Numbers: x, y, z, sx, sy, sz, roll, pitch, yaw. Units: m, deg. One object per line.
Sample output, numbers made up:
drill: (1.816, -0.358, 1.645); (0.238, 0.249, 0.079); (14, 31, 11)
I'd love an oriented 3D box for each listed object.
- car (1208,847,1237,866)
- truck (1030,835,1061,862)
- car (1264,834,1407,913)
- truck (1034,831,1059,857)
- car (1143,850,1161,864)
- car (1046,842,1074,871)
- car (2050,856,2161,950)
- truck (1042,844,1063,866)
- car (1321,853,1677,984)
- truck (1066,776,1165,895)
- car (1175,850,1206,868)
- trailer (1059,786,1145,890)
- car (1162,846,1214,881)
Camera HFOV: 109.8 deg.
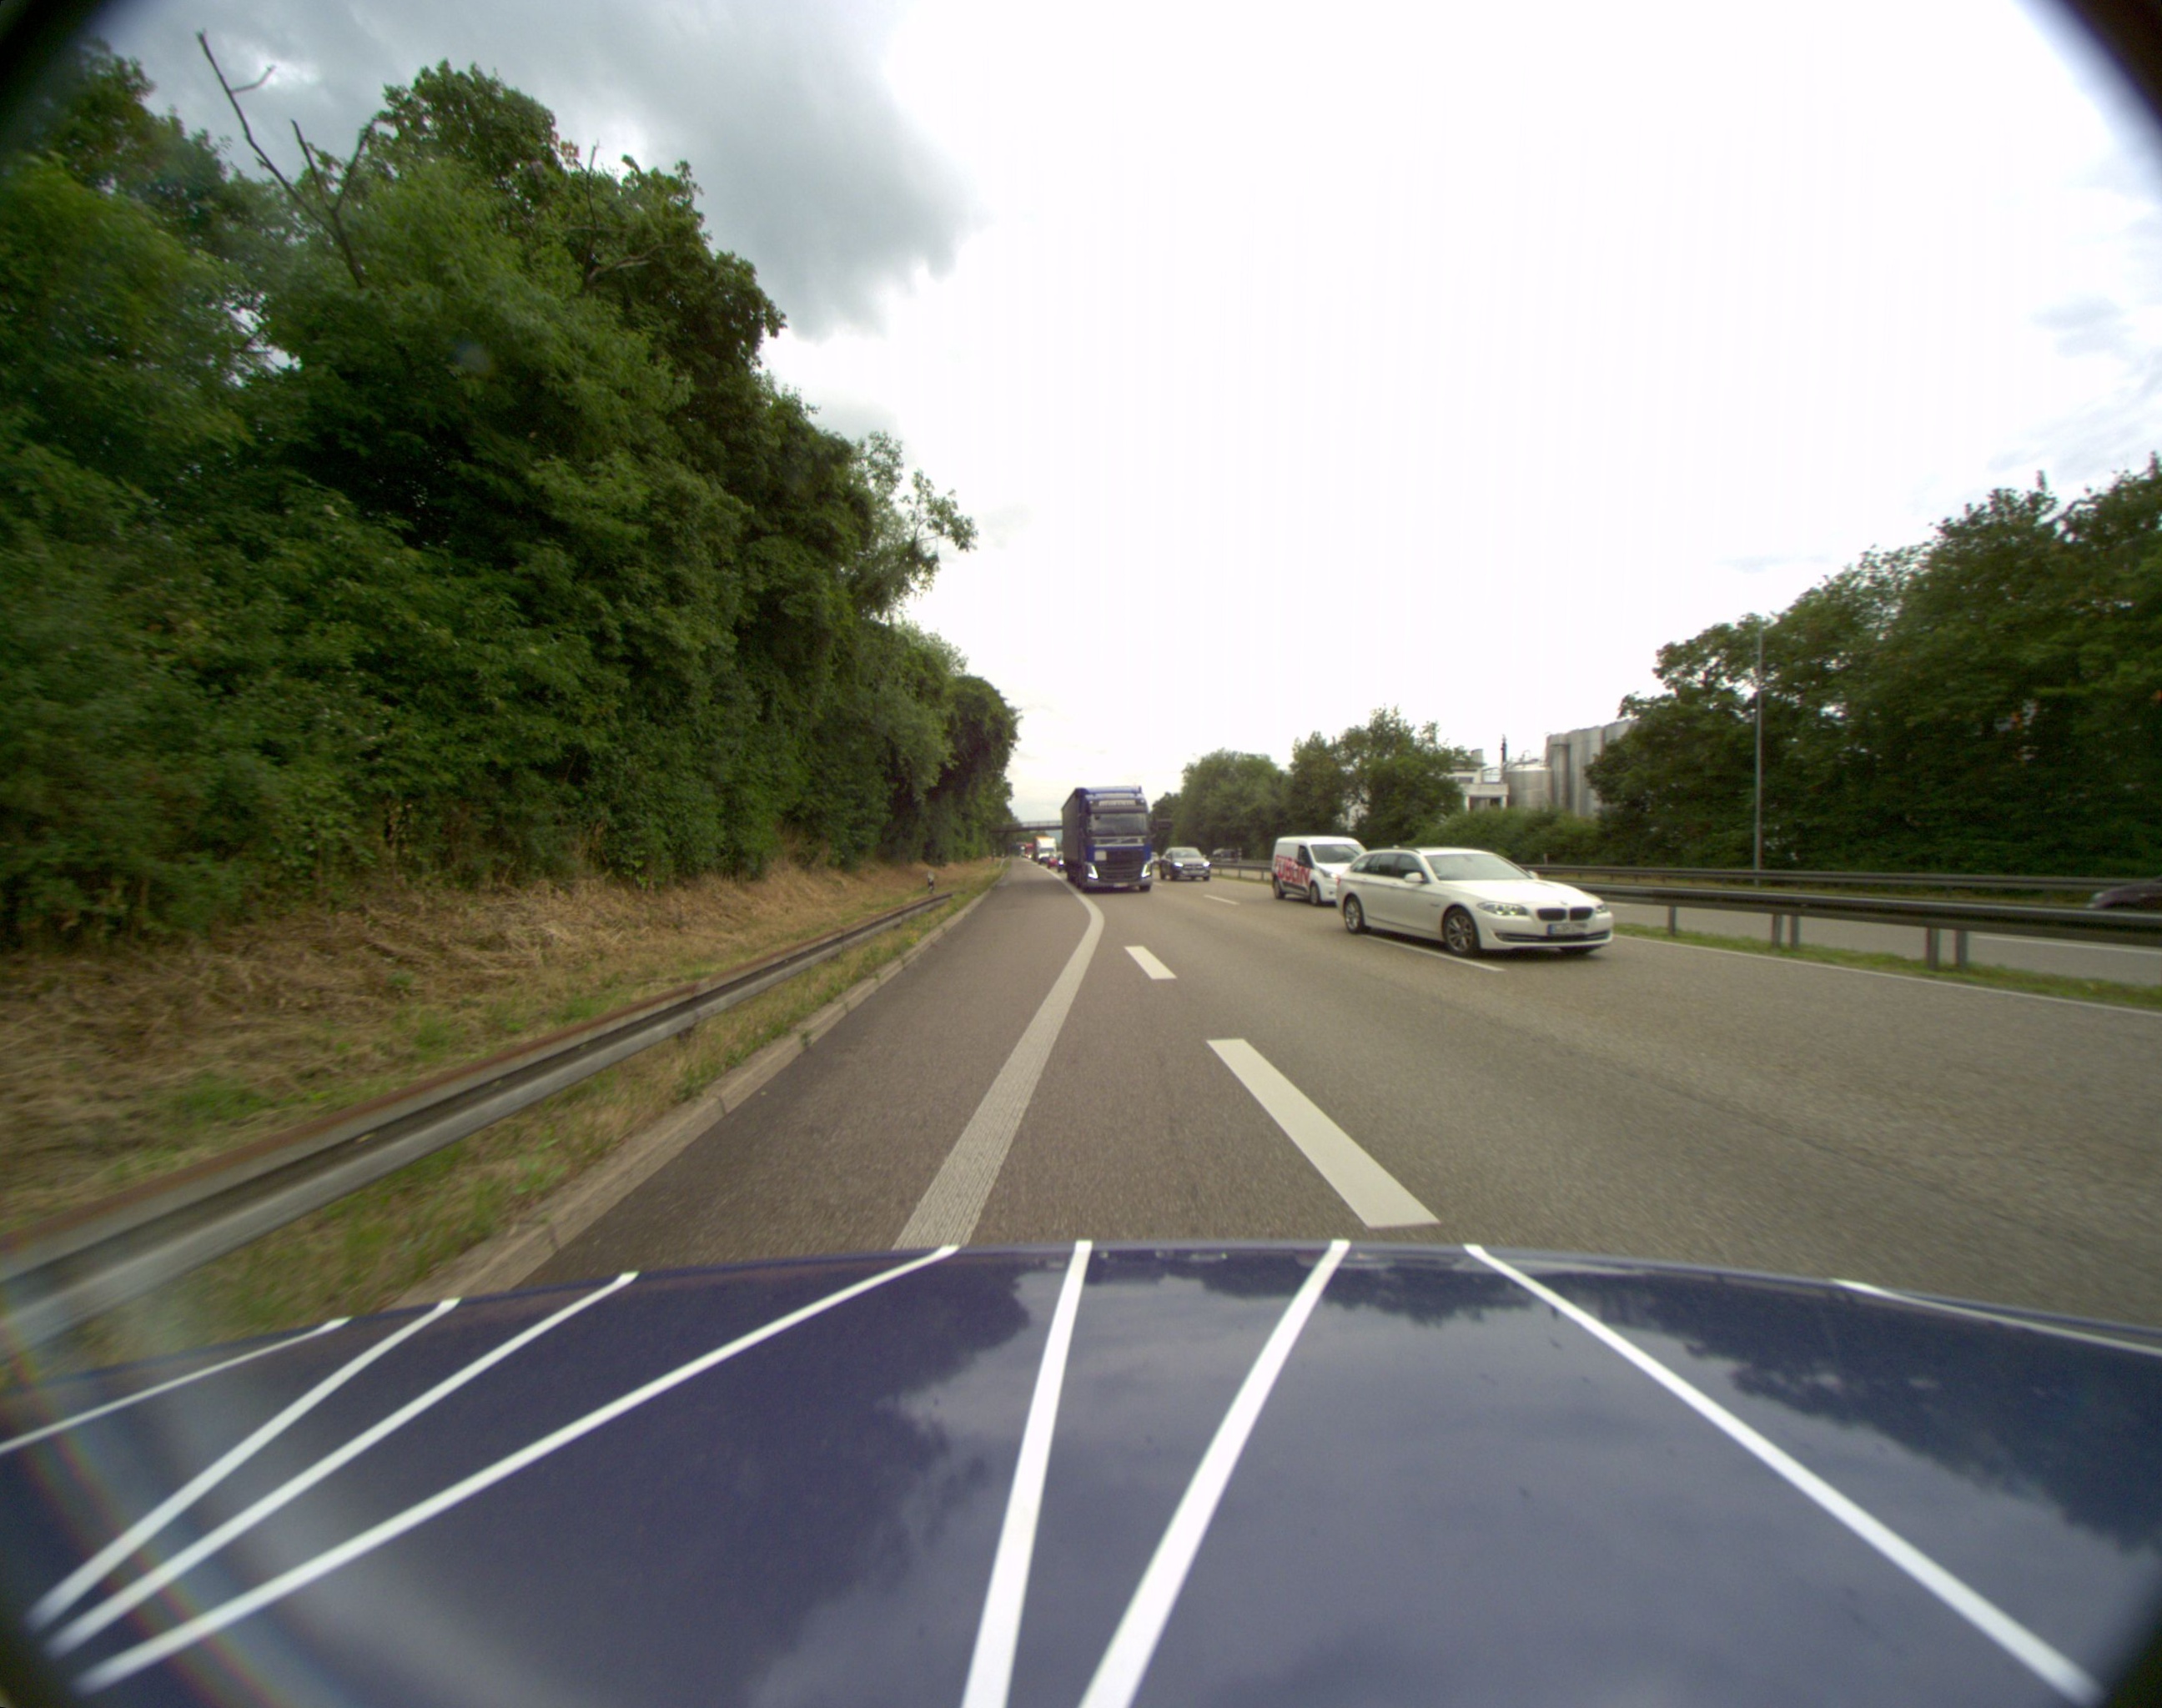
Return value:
car: (13.320, 0.187, 71.855); (1.579, 1.756, 4.276); (0, 1, -6)
truck: (-4.410, -0.715, 92.741); (3.367, 3.099, 7.235); (-2, 1, -6)
car: (6.588, 0.444, 20.336); (1.852, 1.839, 5.005); (0, 1, -4)
truck: (-5.600, -1.609, 122.398); (3.367, 4.041, 10.177); (-2, 1, -5)
car: (8.122, 0.332, 87.065); (1.470, 1.514, 3.555); (0, 1, -6)
car: (-1.549, 0.180, 55.317); (1.752, 2.002, 3.997); (-1, 1, -6)
car: (18.252, 0.804, 11.723); (1.578, 1.487, 3.831); (0, 1, -4)
truck: (-2.632, 0.060, 71.108); (1.894, 2.002, 6.089); (0, 0, -1)
car: (5.688, 0.739, 11.412); (2.064, 1.455, 5.255); (0, 0, -6)
truck: (1.105, -0.660, 29.438); (2.962, 3.946, 7.468); (-1, 1, -3)
car: (9.932, 0.417, 69.186); (1.865, 1.518, 4.398); (0, 1, -5)
trailer: (0.634, -0.737, 36.448); (2.846, 4.013, 13.079); (-2, 1, -4)
car: (5.168, 0.430, 37.139); (1.849, 1.642, 3.999); (0, 1, -2)
